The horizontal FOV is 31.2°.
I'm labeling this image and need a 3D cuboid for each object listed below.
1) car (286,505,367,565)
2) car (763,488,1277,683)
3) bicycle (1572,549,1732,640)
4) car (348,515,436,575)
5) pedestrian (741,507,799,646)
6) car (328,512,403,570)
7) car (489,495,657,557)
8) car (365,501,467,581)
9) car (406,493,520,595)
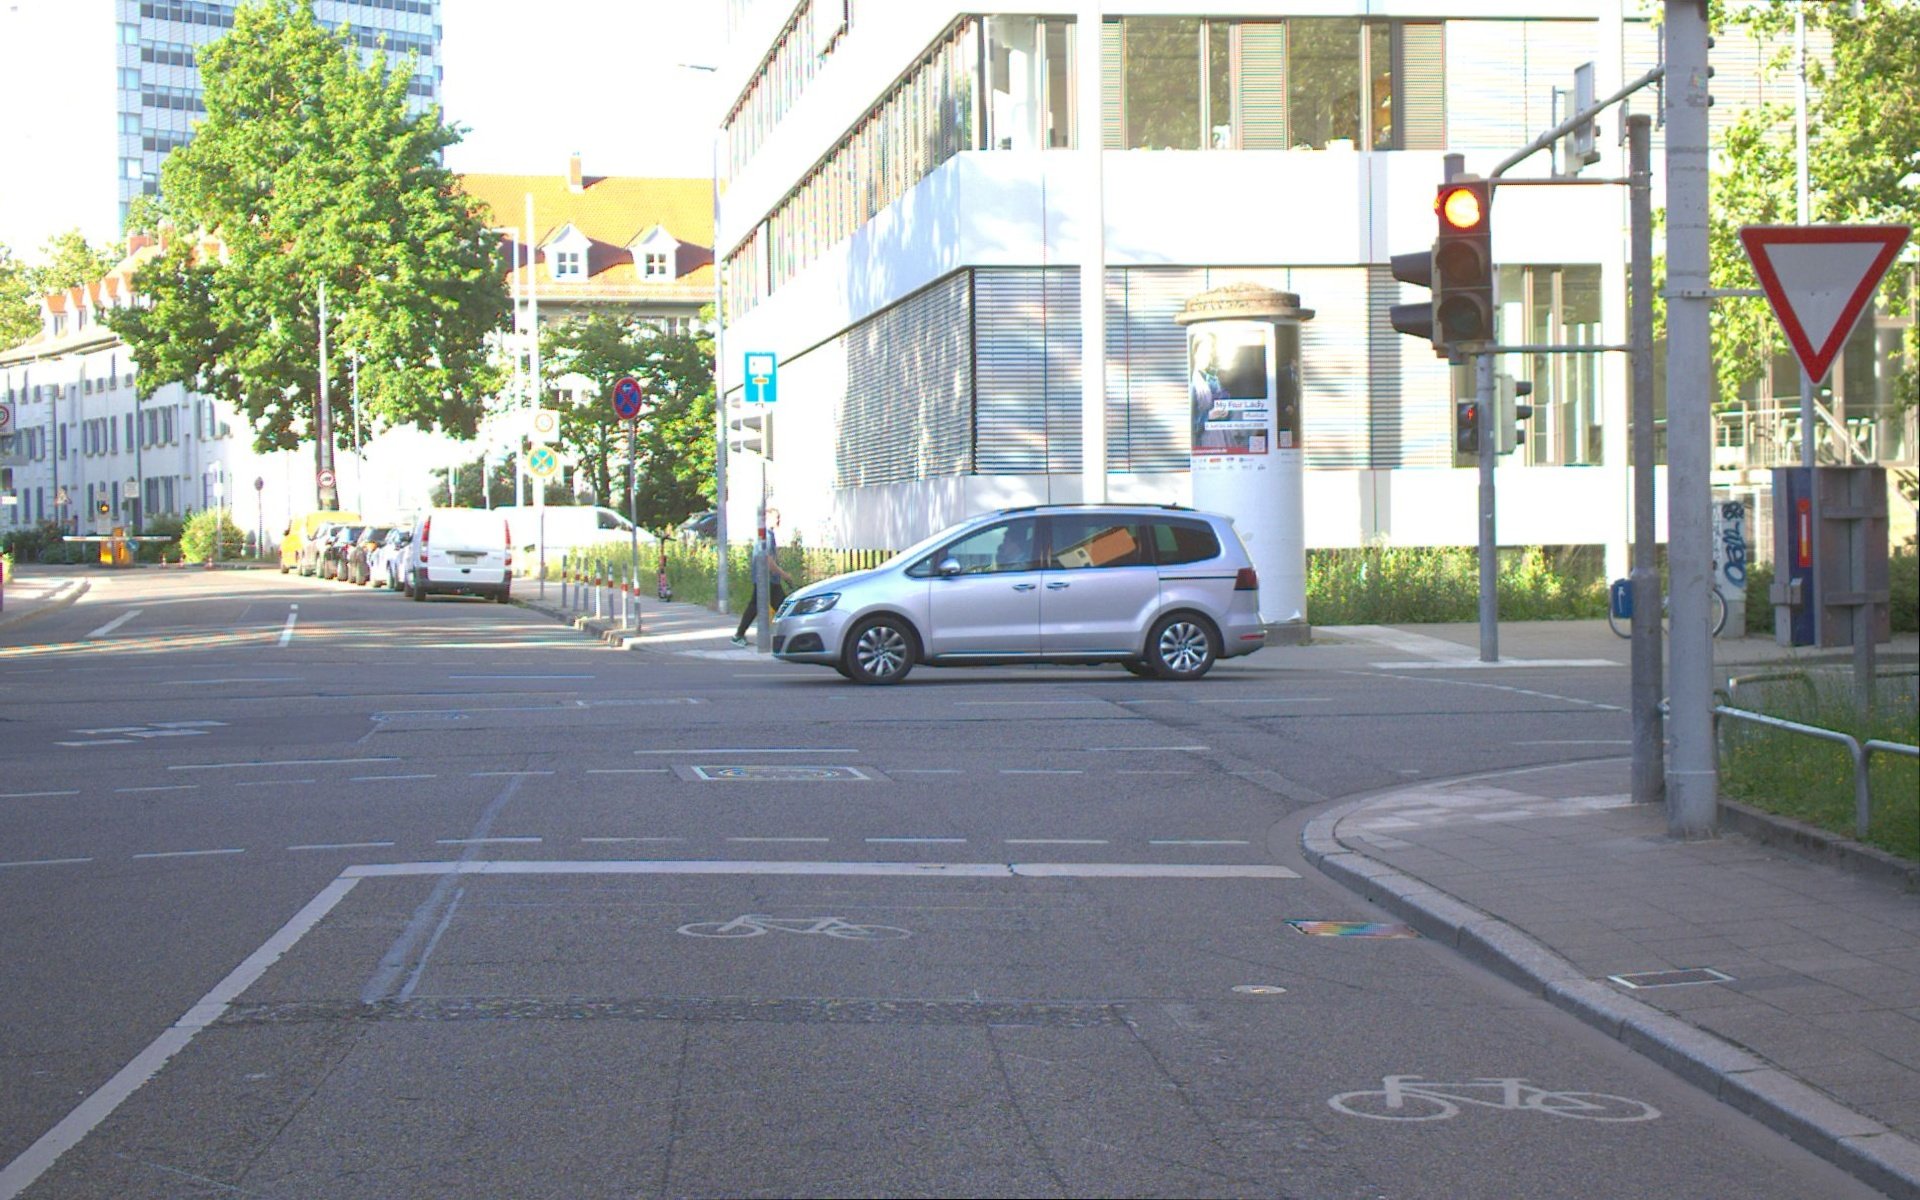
[{"bbox_3d":[-18.312,-1.895,99.317,2.100,1.652,4.477,-1,2,-13],"label":"car"},{"bbox_3d":[0.543,-0.170,33.554,4.758,1.701,1.800,-2,2,-7],"label":"car"},{"bbox_3d":[8.129,-0.075,40.447,0.463,1.045,1.914,-2,2,-43],"label":"bicycle"},{"bbox_3d":[-14.034,-1.380,84.860,1.703,1.419,4.239,-1,2,-15],"label":"car"},{"bbox_3d":[-2.405,-0.304,43.556,0.652,1.730,0.812,-1,1,-7],"label":"pedestrian"},{"bbox_3d":[-15.512,-1.551,89.566,1.703,1.459,4.239,-1,2,-13],"label":"car"},{"bbox_3d":[-12.007,-2.283,106.673,4.880,1.865,2.001,0,1,-18],"label":"car"},{"bbox_3d":[-12.731,-1.390,80.262,1.946,1.789,4.239,-1,2,-14],"label":"car"},{"bbox_3d":[-9.924,-1.134,68.387,2.066,1.956,4.239,-1,2,-10],"label":"car"}]
